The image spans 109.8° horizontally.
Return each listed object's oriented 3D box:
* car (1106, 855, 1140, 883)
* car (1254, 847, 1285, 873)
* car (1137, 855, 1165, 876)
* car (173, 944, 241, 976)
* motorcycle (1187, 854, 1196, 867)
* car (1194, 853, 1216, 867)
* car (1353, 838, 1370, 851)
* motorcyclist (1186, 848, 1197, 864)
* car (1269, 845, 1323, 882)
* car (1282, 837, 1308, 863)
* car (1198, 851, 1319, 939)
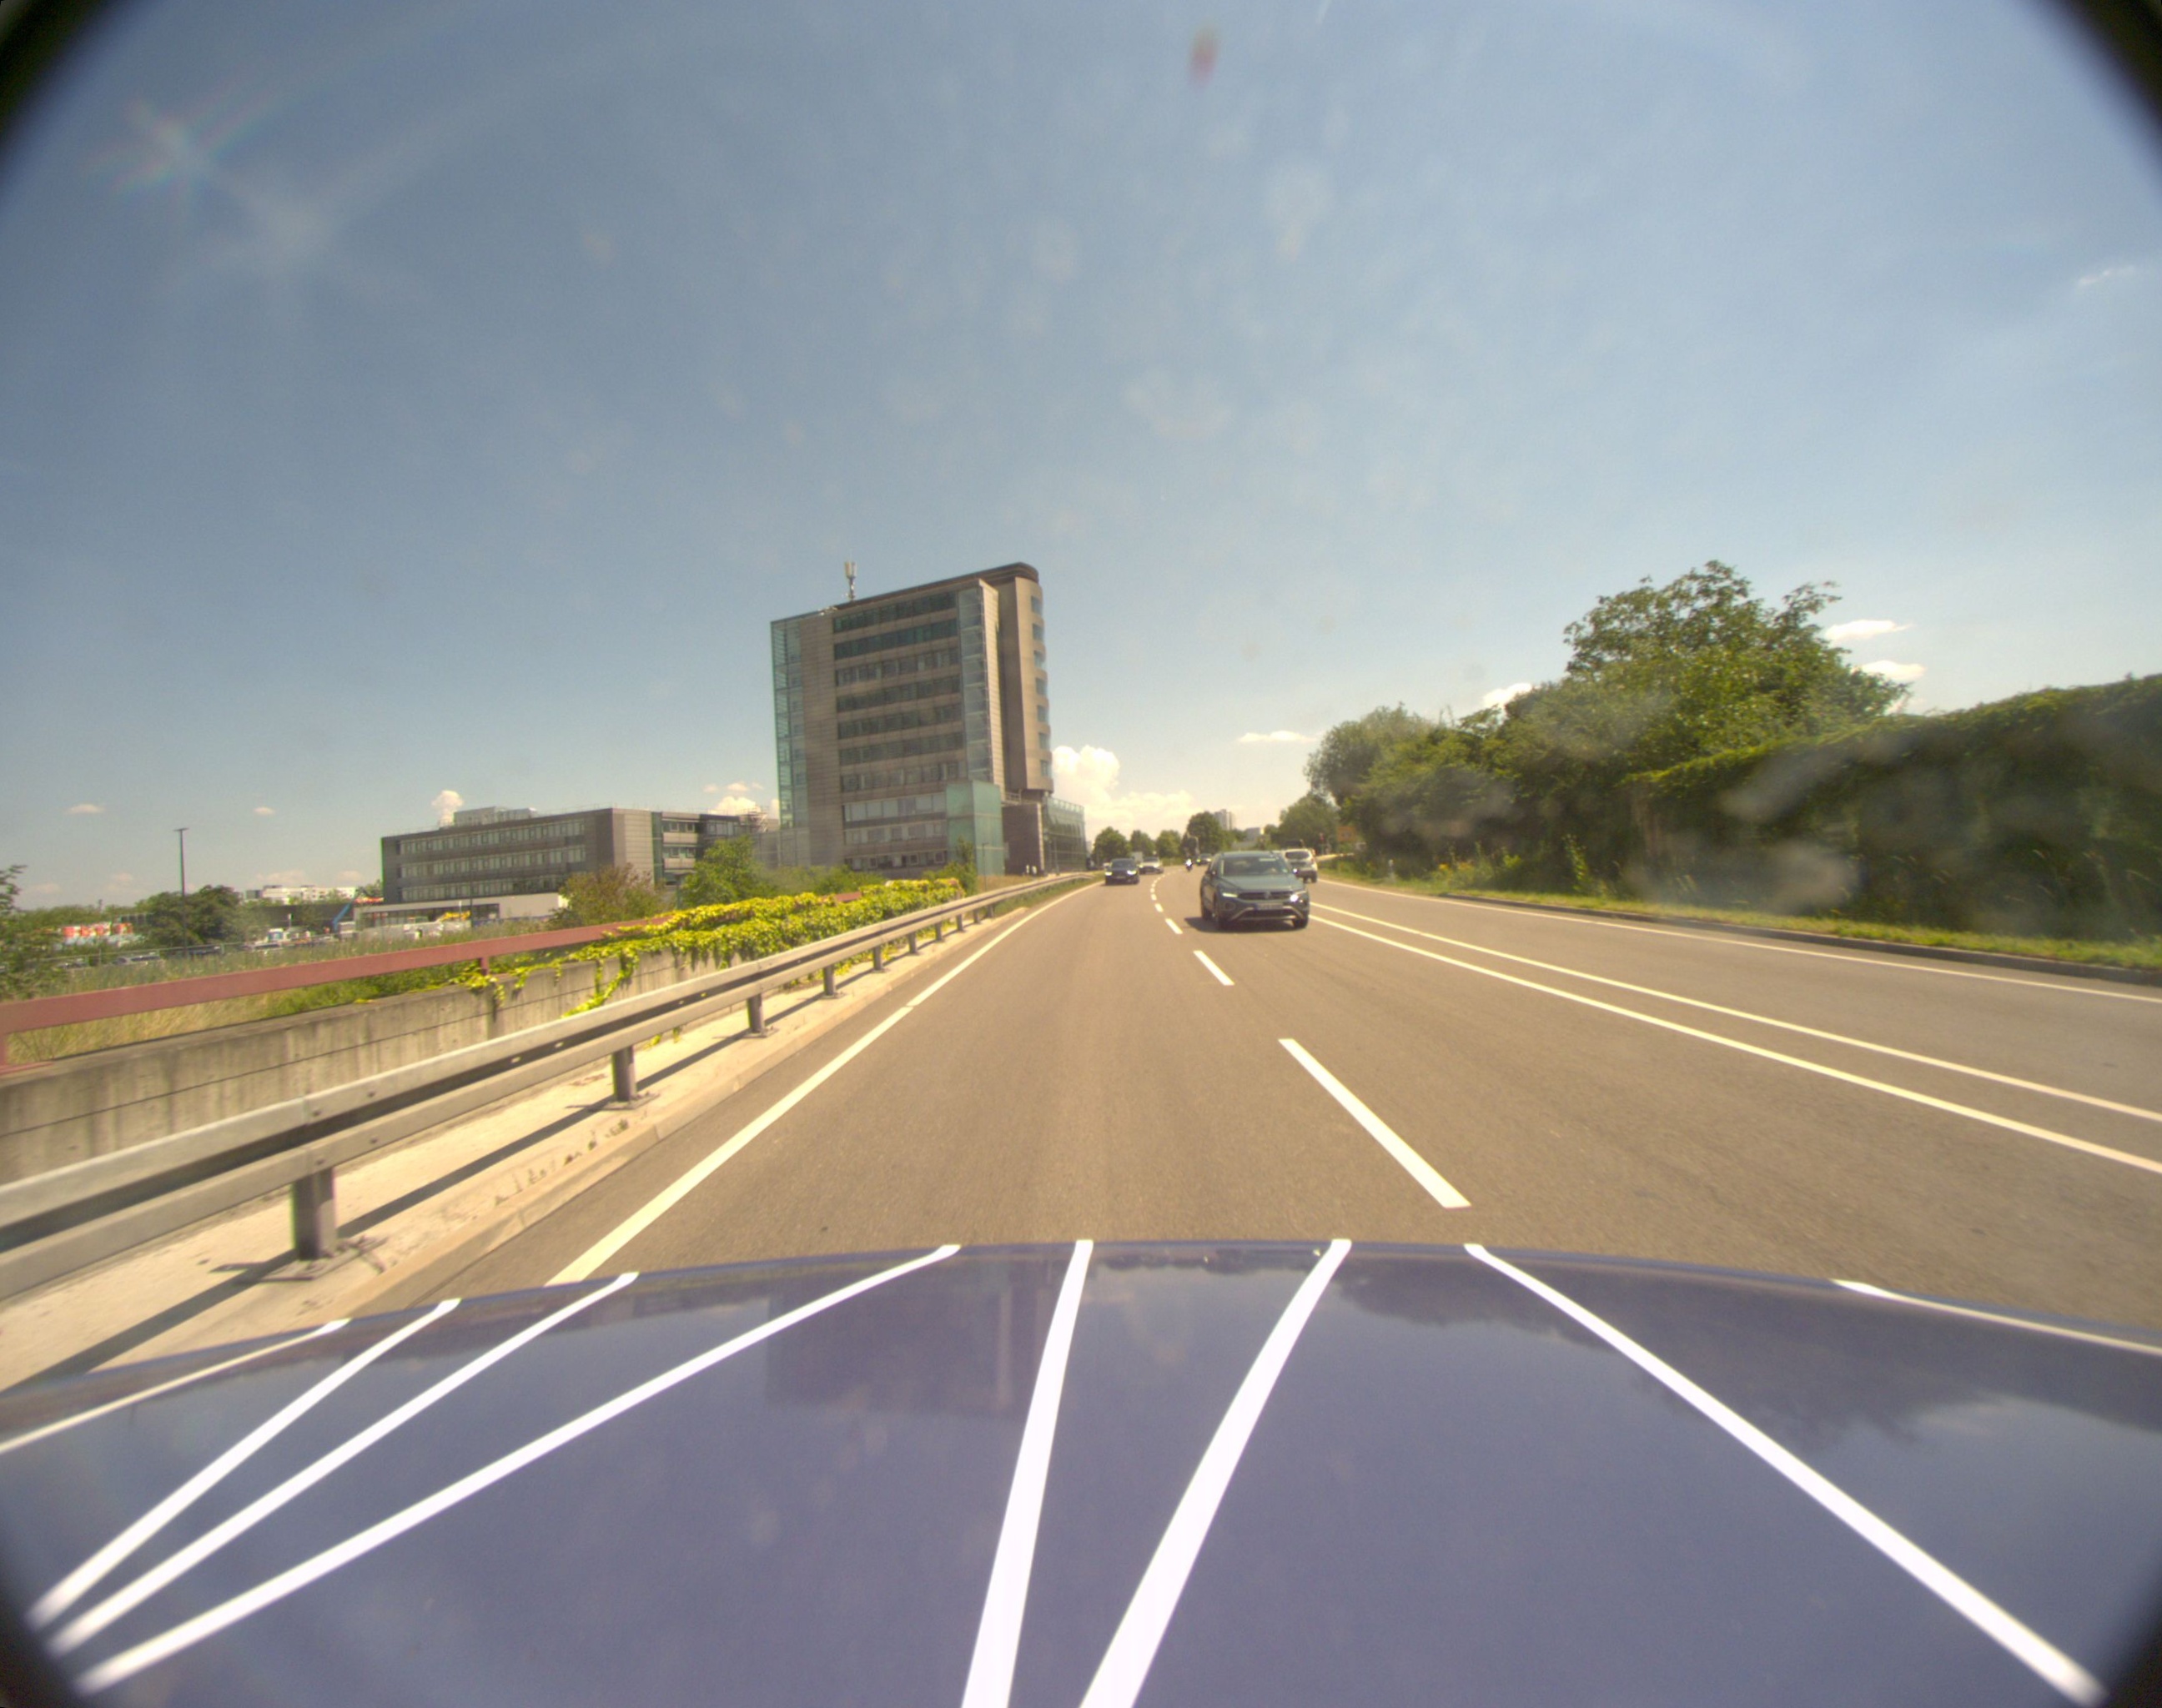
[{"bbox_3d":[2.488,0.842,43.798,1.779,1.497,4.563,-2,-1,5],"label":"car"},{"bbox_3d":[12.612,0.374,50.780,1.840,1.583,4.822,-2,0,14],"label":"car"},{"bbox_3d":[6.072,1.026,65.482,1.932,1.576,4.184,-5,-2,10],"label":"car"},{"bbox_3d":[-62.972,7.652,54.764,3.991,2.001,2.003,-5,-2,23],"label":"car"},{"bbox_3d":[9.928,0.567,68.256,0.734,1.131,2.073,-1,0,5],"label":"motorcycle"},{"bbox_3d":[15.420,0.696,94.322,2.115,1.582,4.455,-2,0,16],"label":"car"},{"bbox_3d":[46.215,-1.585,125.068,2.078,2.002,5.816,-3,0,25],"label":"car"},{"bbox_3d":[9.905,0.182,68.258,0.860,1.479,1.162,-1,0,5],"label":"motorcyclist"},{"bbox_3d":[10.397,0.434,37.007,1.997,1.619,4.199,-2,0,9],"label":"car"},{"bbox_3d":[22.527,-0.412,79.804,2.190,2.526,6.044,-3,0,19],"label":"car"},{"bbox_3d":[3.616,0.765,16.263,1.838,1.577,4.392,-2,0,5],"label":"car"}]
